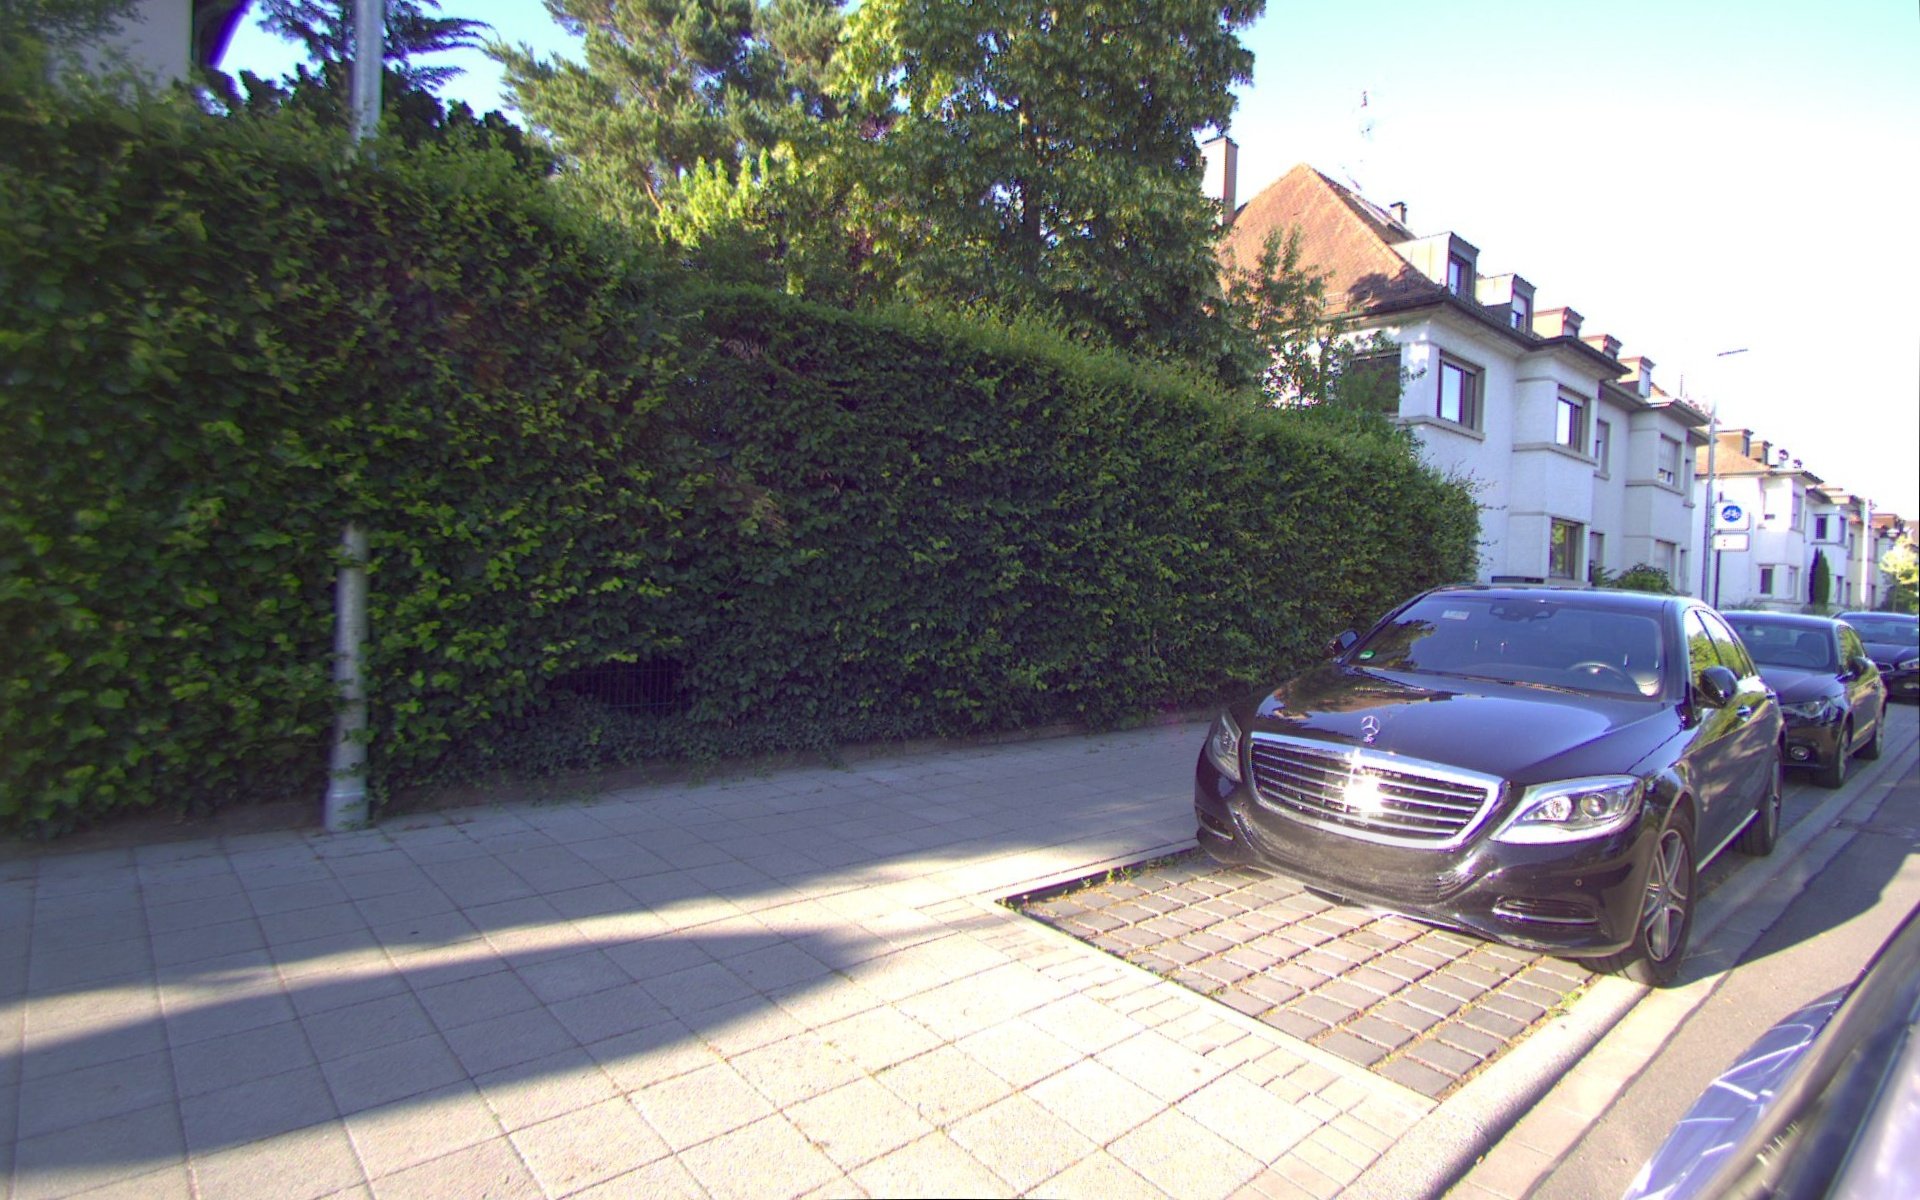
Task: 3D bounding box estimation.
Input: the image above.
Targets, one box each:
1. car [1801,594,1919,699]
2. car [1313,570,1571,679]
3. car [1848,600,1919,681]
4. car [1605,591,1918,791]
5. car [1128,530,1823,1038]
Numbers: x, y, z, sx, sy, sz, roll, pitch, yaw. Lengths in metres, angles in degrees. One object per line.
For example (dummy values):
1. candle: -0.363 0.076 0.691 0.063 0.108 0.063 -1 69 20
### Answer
1. car: 16.041 0.740 17.450 4.183 1.492 1.750 1 5 -43
2. car: 8.316 0.352 17.636 3.637 1.514 1.752 6 4 45
3. car: 19.890 0.822 21.007 3.916 1.489 1.721 1 4 -43
4. car: 7.780 0.713 9.697 3.868 1.445 1.644 1 3 -42
5. car: 3.137 0.544 5.502 4.792 1.561 1.861 0 3 -44
